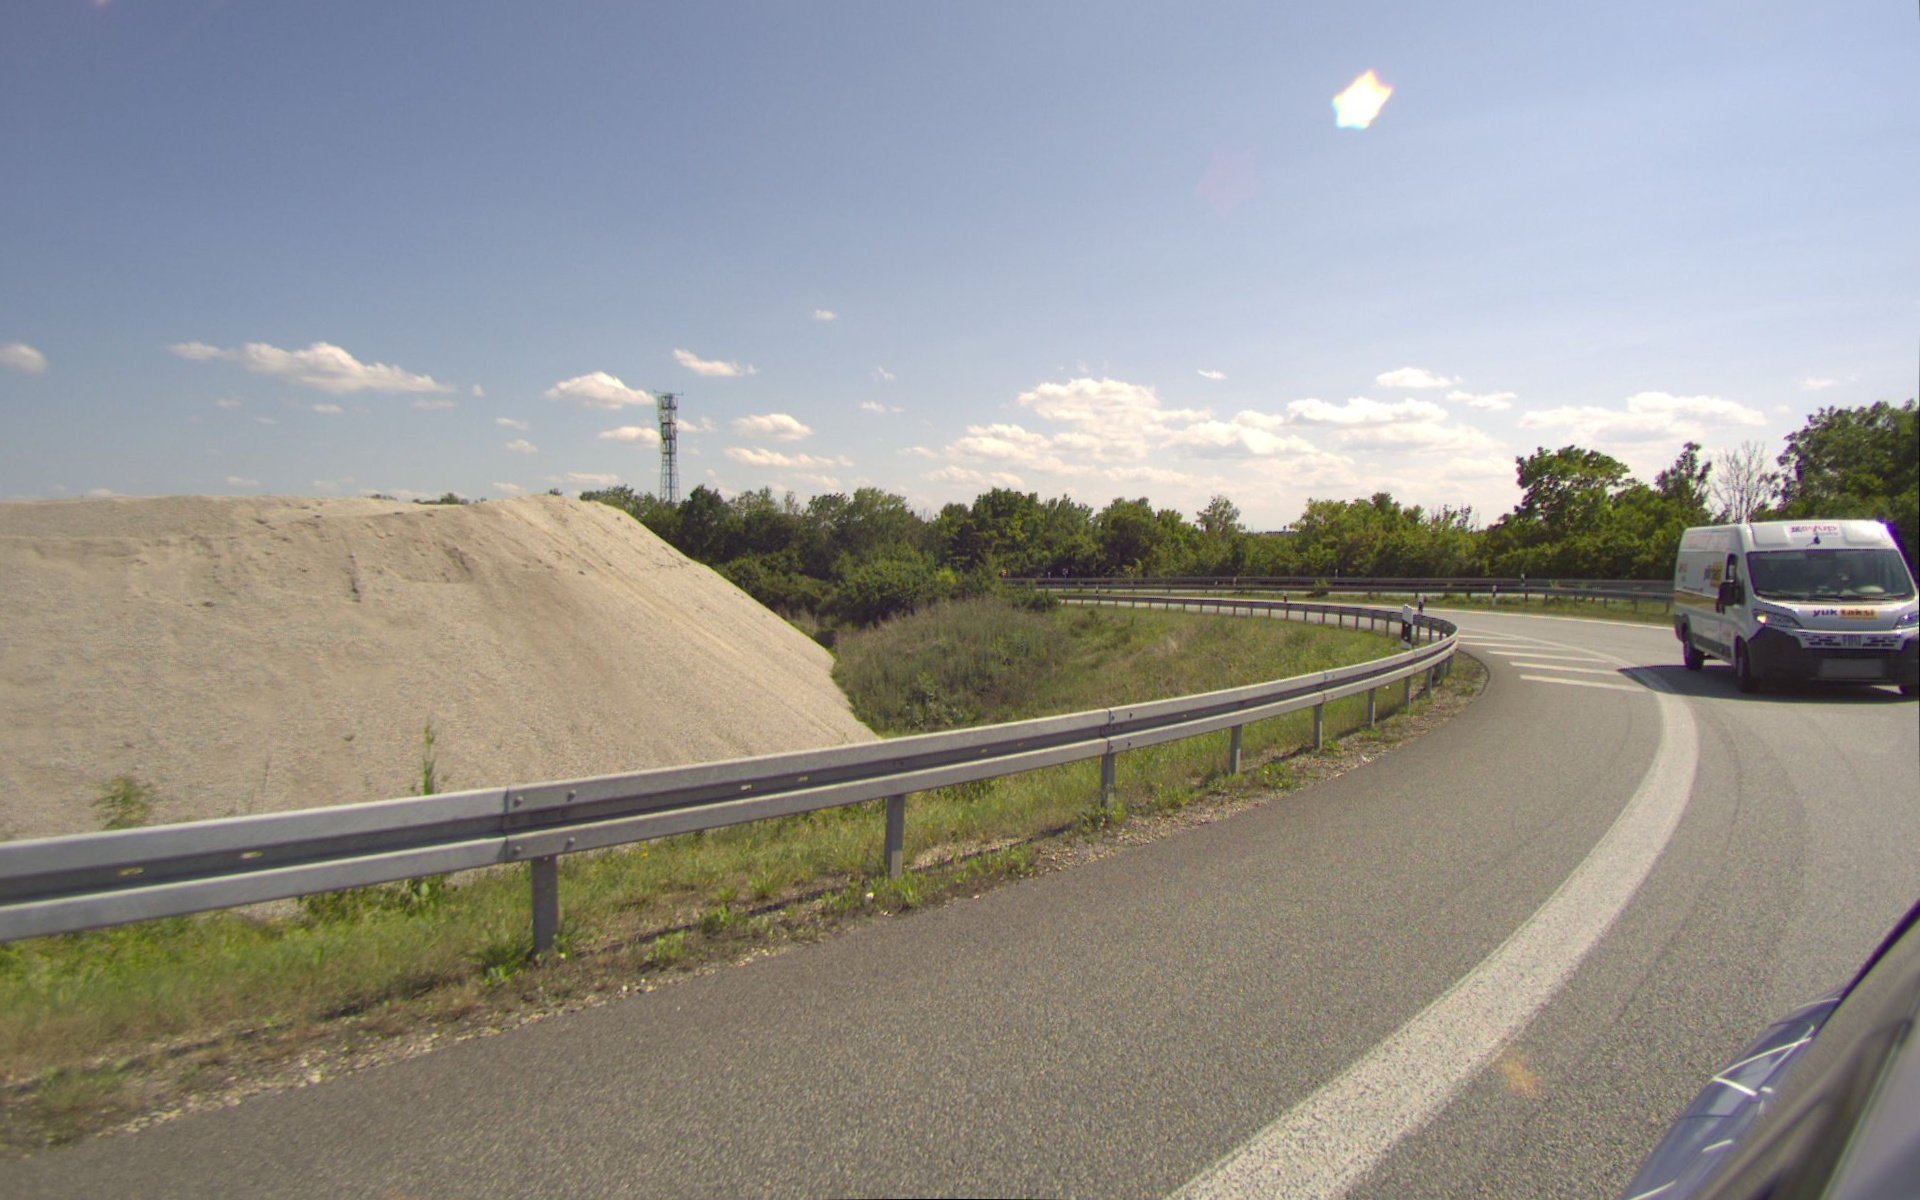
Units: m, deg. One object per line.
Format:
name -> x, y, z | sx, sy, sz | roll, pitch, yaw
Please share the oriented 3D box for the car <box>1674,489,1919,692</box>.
car -> 13.065, -0.166, 15.884 | 2.069, 2.555, 6.178 | -3, 0, 27
